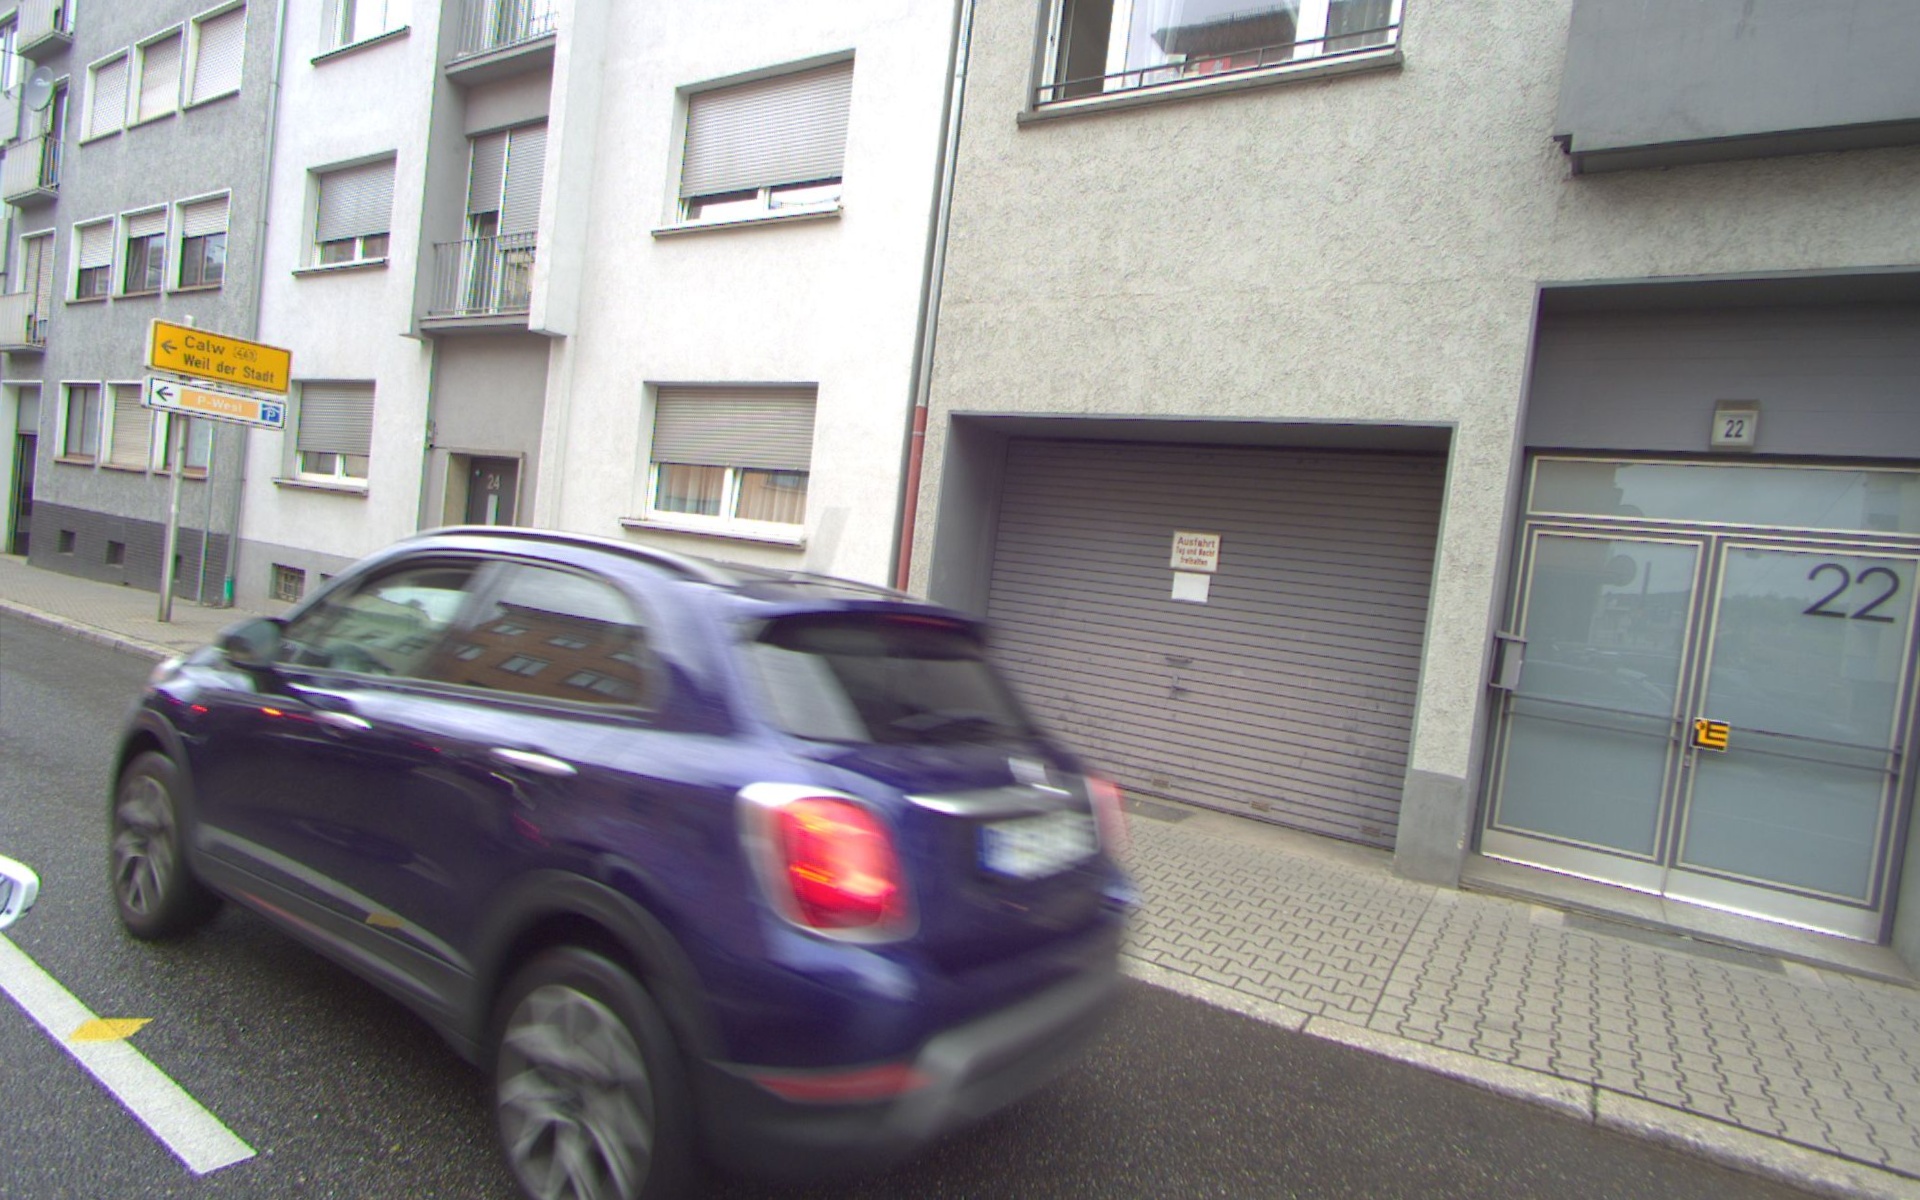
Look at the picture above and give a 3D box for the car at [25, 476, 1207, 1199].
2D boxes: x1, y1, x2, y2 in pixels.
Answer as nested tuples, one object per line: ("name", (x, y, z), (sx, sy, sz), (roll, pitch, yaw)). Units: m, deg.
("car", (-1.395, 0.580, 3.583), (3.934, 1.600, 1.769), (7, 0, 32))
